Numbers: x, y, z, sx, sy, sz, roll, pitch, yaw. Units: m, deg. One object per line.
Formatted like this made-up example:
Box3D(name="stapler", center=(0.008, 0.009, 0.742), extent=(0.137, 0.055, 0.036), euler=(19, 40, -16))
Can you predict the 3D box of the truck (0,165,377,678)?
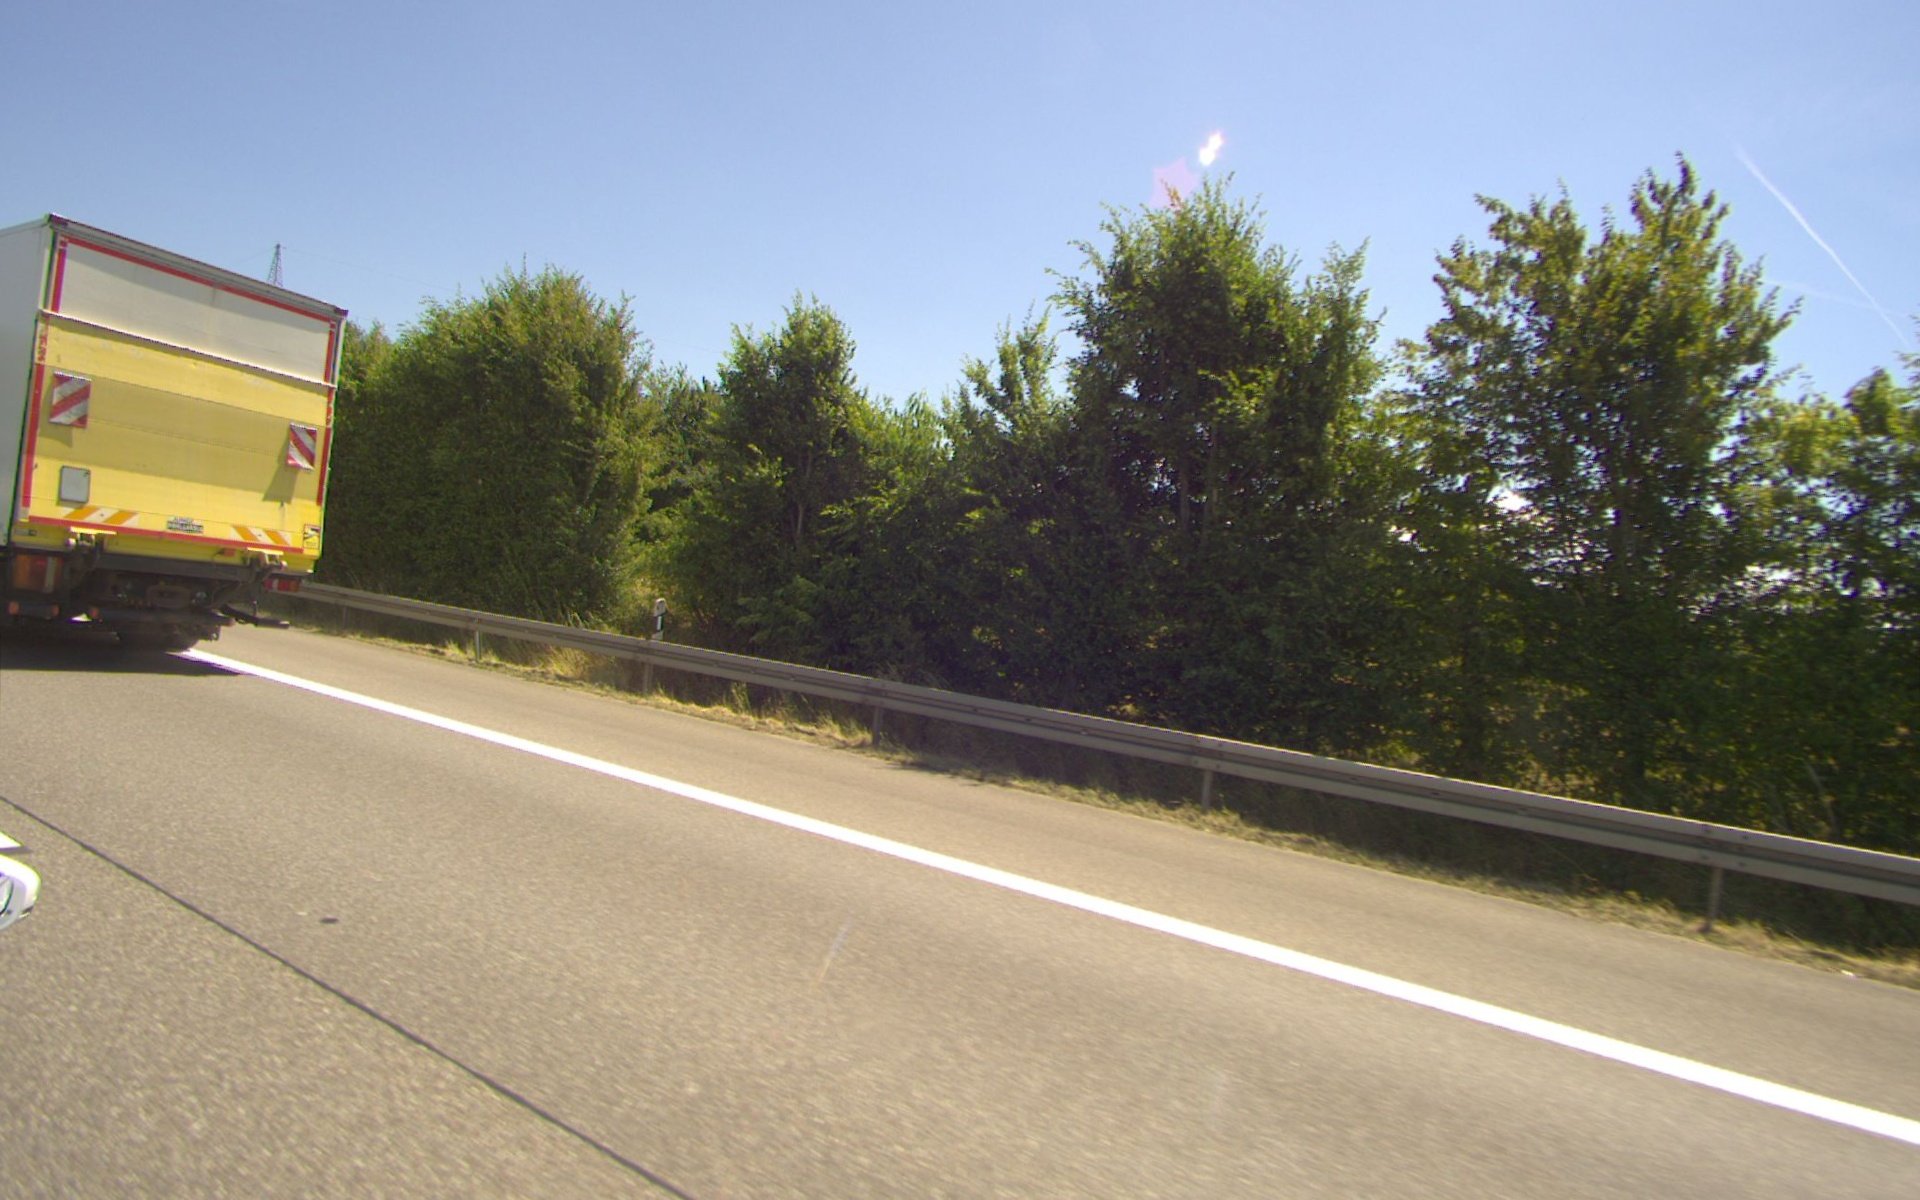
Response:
Box3D(name="truck", center=(-11.840, -1.923, 12.462), extent=(10.503, 4.248, 2.939), euler=(7, -2, 31))
